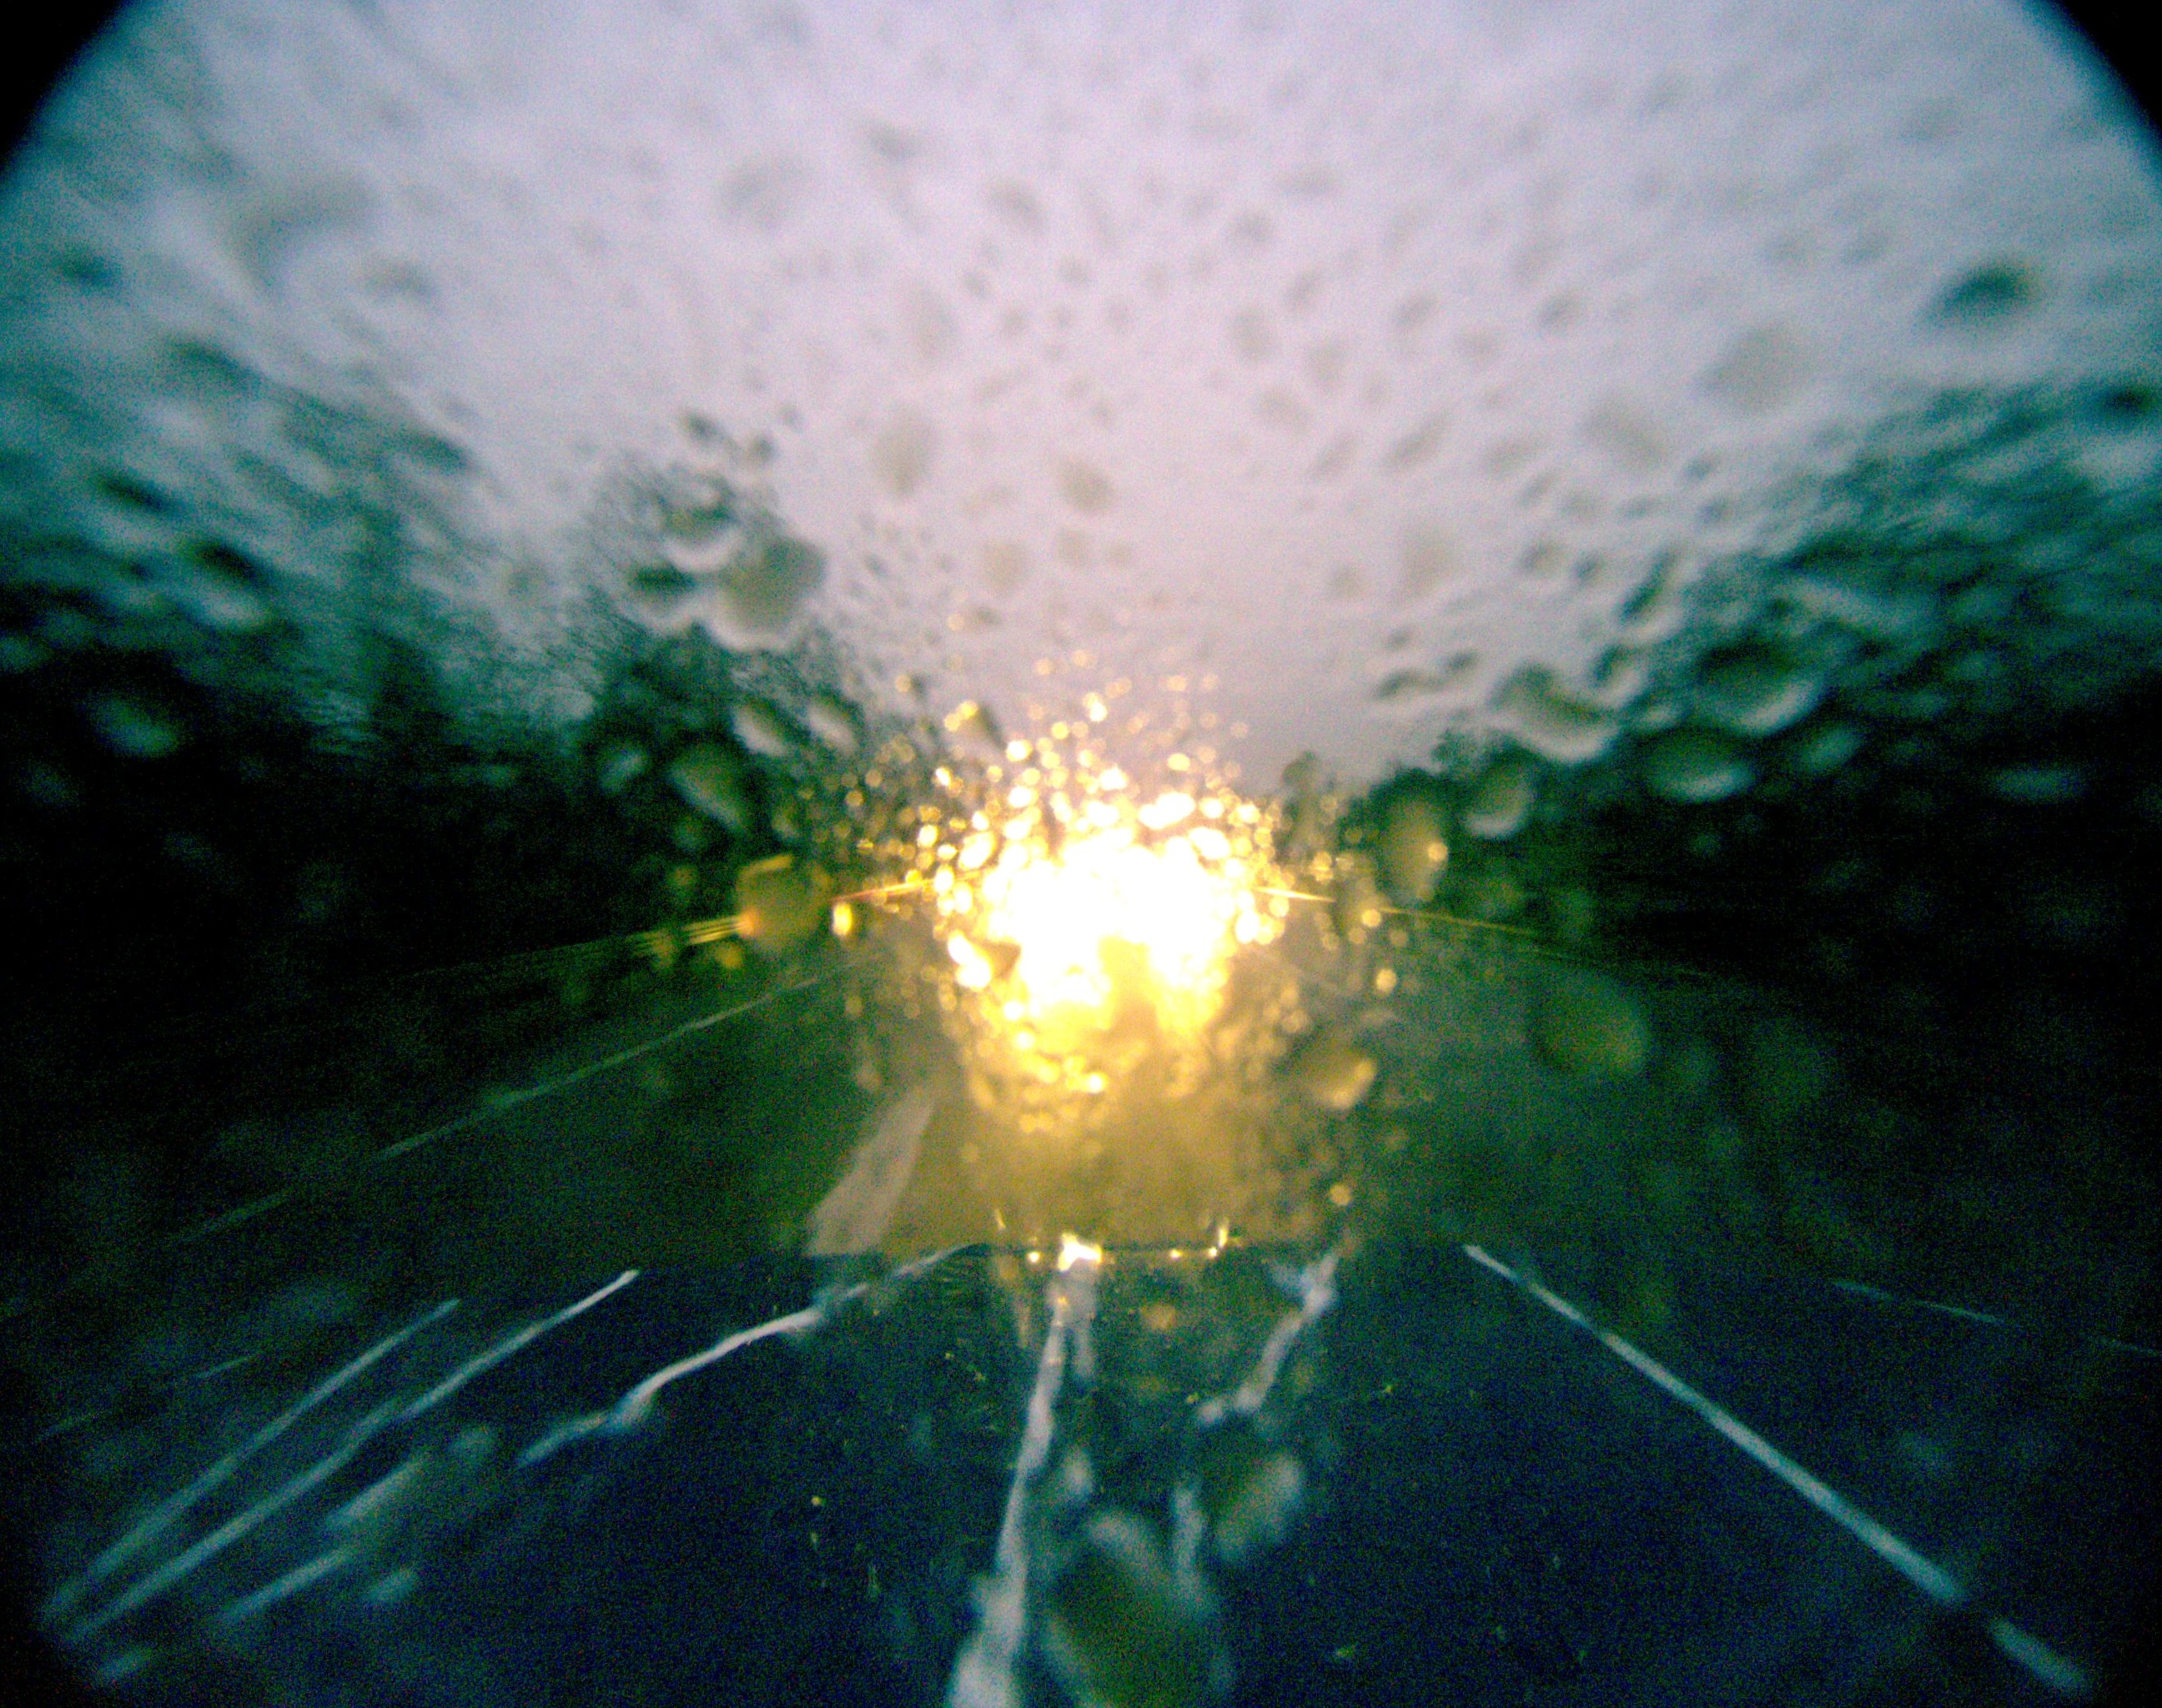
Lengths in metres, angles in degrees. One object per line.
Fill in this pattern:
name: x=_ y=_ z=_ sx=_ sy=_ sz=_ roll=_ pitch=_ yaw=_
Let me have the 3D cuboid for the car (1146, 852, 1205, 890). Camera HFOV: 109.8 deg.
car: x=4.080 y=0.677 z=33.454 sx=1.803 sy=1.459 sz=4.412 roll=-3 pitch=0 yaw=-2

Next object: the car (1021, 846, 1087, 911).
car: x=-0.846 y=0.774 z=25.842 sx=1.998 sy=2.002 sz=3.963 roll=-1 pitch=0 yaw=0

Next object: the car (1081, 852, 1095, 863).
car: x=0.776 y=0.380 z=88.811 sx=1.482 sy=1.198 sz=3.348 roll=-3 pitch=0 yaw=-1
